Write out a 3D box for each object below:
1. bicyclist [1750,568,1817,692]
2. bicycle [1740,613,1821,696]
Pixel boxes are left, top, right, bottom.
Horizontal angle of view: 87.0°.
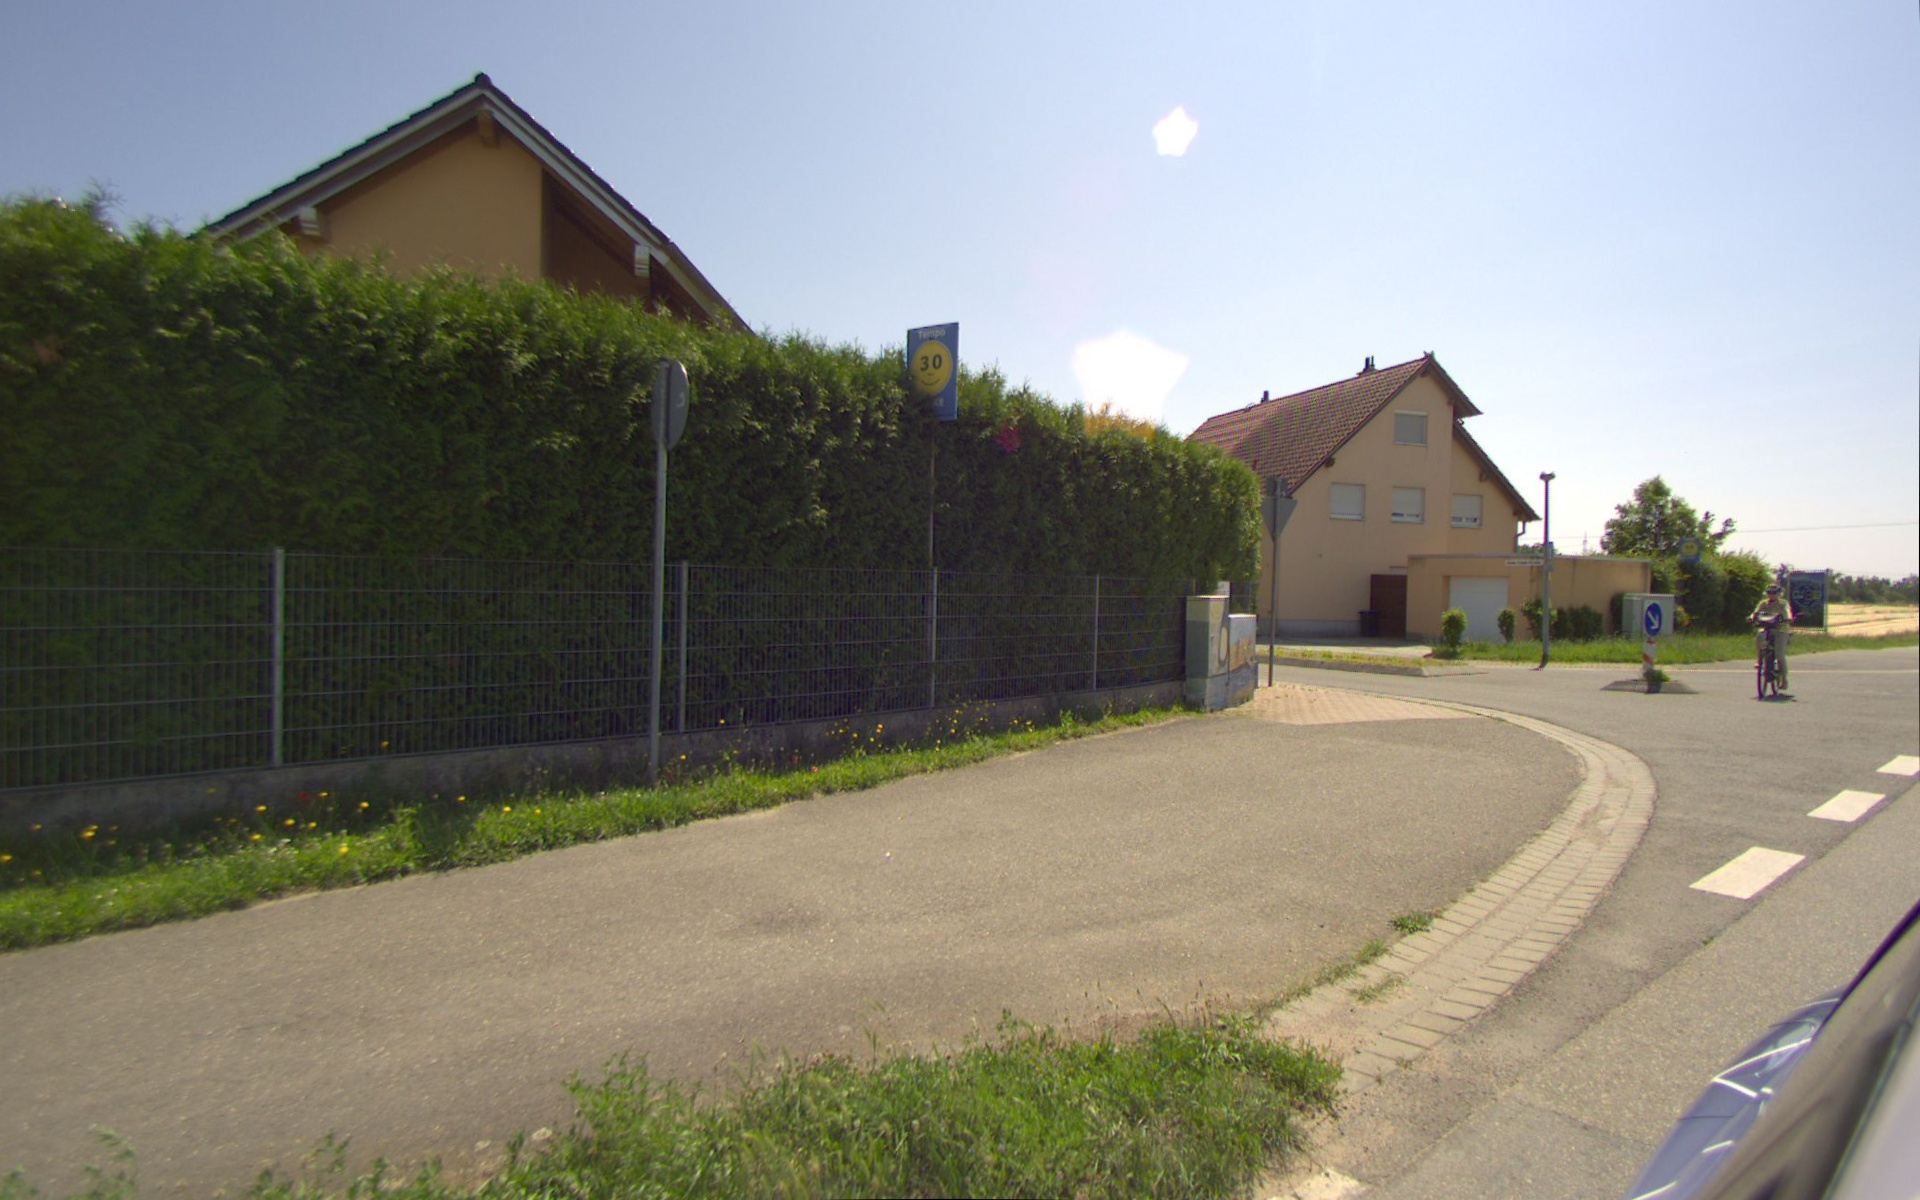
[{"bbox_3d":[13.220,0.458,16.239,0.846,1.913,0.646,-1,2,-41],"label":"bicyclist"},{"bbox_3d":[13.153,0.832,16.193,2.234,1.173,0.611,-1,2,-41],"label":"bicycle"}]
